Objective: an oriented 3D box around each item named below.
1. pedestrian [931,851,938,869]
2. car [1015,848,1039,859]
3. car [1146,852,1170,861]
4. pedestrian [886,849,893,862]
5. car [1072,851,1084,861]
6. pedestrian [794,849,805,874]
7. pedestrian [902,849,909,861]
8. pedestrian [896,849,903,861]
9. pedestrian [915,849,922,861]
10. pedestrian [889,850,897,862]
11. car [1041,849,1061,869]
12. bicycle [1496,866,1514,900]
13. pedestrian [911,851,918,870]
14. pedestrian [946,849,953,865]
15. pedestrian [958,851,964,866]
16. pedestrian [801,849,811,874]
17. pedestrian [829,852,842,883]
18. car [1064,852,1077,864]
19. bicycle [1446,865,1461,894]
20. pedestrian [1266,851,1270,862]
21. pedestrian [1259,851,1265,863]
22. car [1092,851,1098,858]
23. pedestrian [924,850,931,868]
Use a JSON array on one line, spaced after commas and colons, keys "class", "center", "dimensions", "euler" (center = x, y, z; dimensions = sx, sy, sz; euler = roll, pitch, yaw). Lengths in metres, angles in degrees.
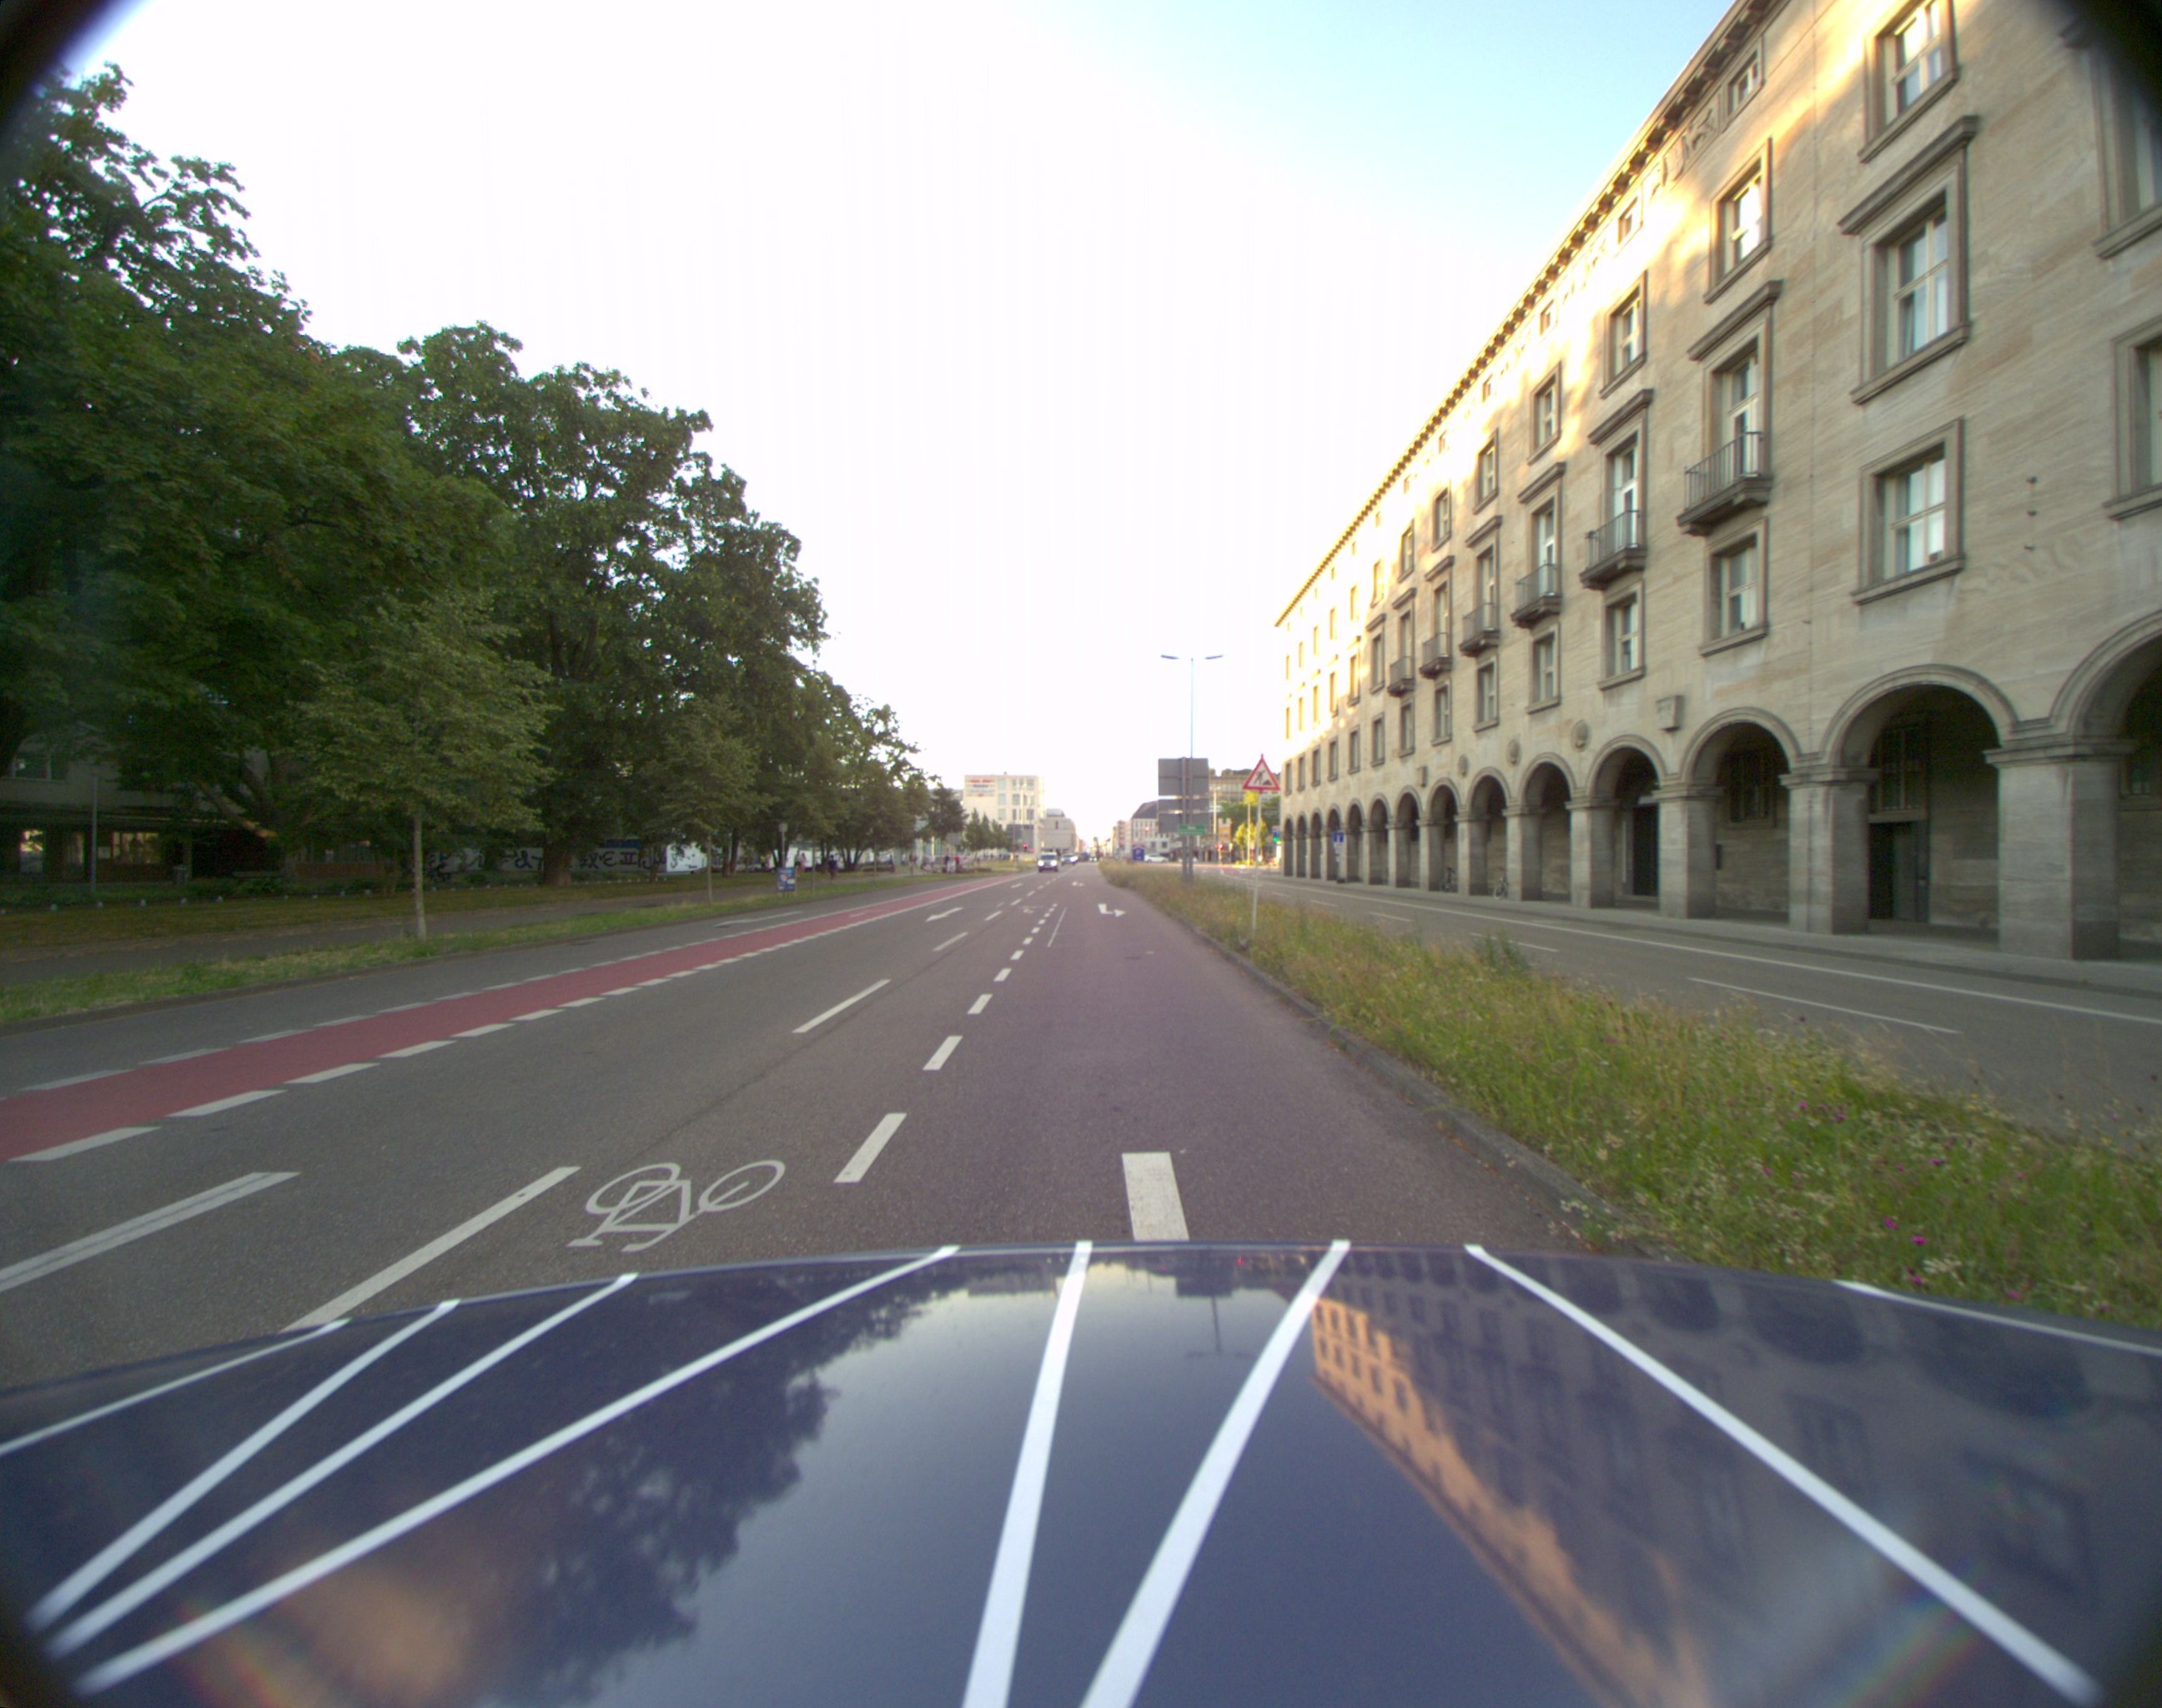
[{"class": "pedestrian", "center": [-14.125, 0.540, 73.210], "dimensions": [0.509, 1.720, 0.719], "euler": [0, 1, 1]}, {"class": "car", "center": [-9.280, -0.084, 131.086], "dimensions": [3.997, 2.002, 2.000], "euler": [0, 0, -1]}, {"class": "car", "center": [14.311, 0.425, 141.034], "dimensions": [4.029, 1.599, 1.999], "euler": [0, 0, -6]}, {"class": "pedestrian", "center": [-21.136, 0.168, 83.771], "dimensions": [0.519, 1.347, 0.773], "euler": [0, 1, 1]}, {"class": "car", "center": [-0.532, 0.284, 121.191], "dimensions": [1.782, 1.617, 4.215], "euler": [-1, 0, 1]}, {"class": "pedestrian", "center": [-17.719, 0.465, 47.844], "dimensions": [0.500, 1.592, 0.522], "euler": [0, 1, 1]}, {"class": "pedestrian", "center": [-19.914, 0.156, 86.366], "dimensions": [0.662, 1.347, 0.559], "euler": [0, 1, 1]}, {"class": "pedestrian", "center": [-20.070, 0.122, 83.990], "dimensions": [0.519, 1.347, 0.773], "euler": [0, 1, 1]}, {"class": "pedestrian", "center": [-18.470, 0.111, 86.414], "dimensions": [0.654, 1.347, 0.505], "euler": [0, 1, 1]}, {"class": "pedestrian", "center": [-21.262, 0.170, 85.849], "dimensions": [0.728, 1.347, 0.614], "euler": [0, 1, 1]}, {"class": "car", "center": [-2.886, 0.485, 74.270], "dimensions": [1.767, 1.877, 4.499], "euler": [0, 0, 0]}, {"class": "bicycle", "center": [15.361, 1.016, 27.521], "dimensions": [0.513, 1.115, 2.427], "euler": [0, 1, 30]}, {"class": "pedestrian", "center": [-15.066, 0.592, 68.682], "dimensions": [0.509, 1.720, 0.719], "euler": [0, 1, 1]}, {"class": "pedestrian", "center": [-14.770, 0.311, 85.250], "dimensions": [0.638, 1.747, 0.506], "euler": [0, 1, 1]}, {"class": "pedestrian", "center": [-13.398, 0.506, 84.998], "dimensions": [0.638, 1.747, 0.506], "euler": [0, 1, 1]}, {"class": "pedestrian", "center": [-17.804, 0.470, 49.178], "dimensions": [0.500, 1.592, 0.365], "euler": [0, 1, 1]}, {"class": "pedestrian", "center": [-13.739, 0.734, 42.504], "dimensions": [0.558, 1.729, 0.555], "euler": [0, 1, 1]}, {"class": "car", "center": [-1.483, 0.579, 108.045], "dimensions": [1.826, 1.612, 4.336], "euler": [0, 0, 0]}, {"class": "bicycle", "center": [15.749, 1.052, 32.125], "dimensions": [0.513, 1.172, 2.427], "euler": [0, 0, 25]}, {"class": "pedestrian", "center": [26.259, 0.358, 106.643], "dimensions": [0.526, 1.532, 0.390], "euler": [0, 1, 1]}, {"class": "pedestrian", "center": [25.450, 0.417, 106.951], "dimensions": [0.638, 1.747, 0.506], "euler": [0, 1, 1]}, {"class": "car", "center": [4.591, 0.053, 248.671], "dimensions": [1.998, 2.297, 5.090], "euler": [0, 0, 1]}, {"class": "pedestrian", "center": [-14.828, 0.460, 73.530], "dimensions": [0.519, 1.720, 0.719], "euler": [0, 1, 1]}]
